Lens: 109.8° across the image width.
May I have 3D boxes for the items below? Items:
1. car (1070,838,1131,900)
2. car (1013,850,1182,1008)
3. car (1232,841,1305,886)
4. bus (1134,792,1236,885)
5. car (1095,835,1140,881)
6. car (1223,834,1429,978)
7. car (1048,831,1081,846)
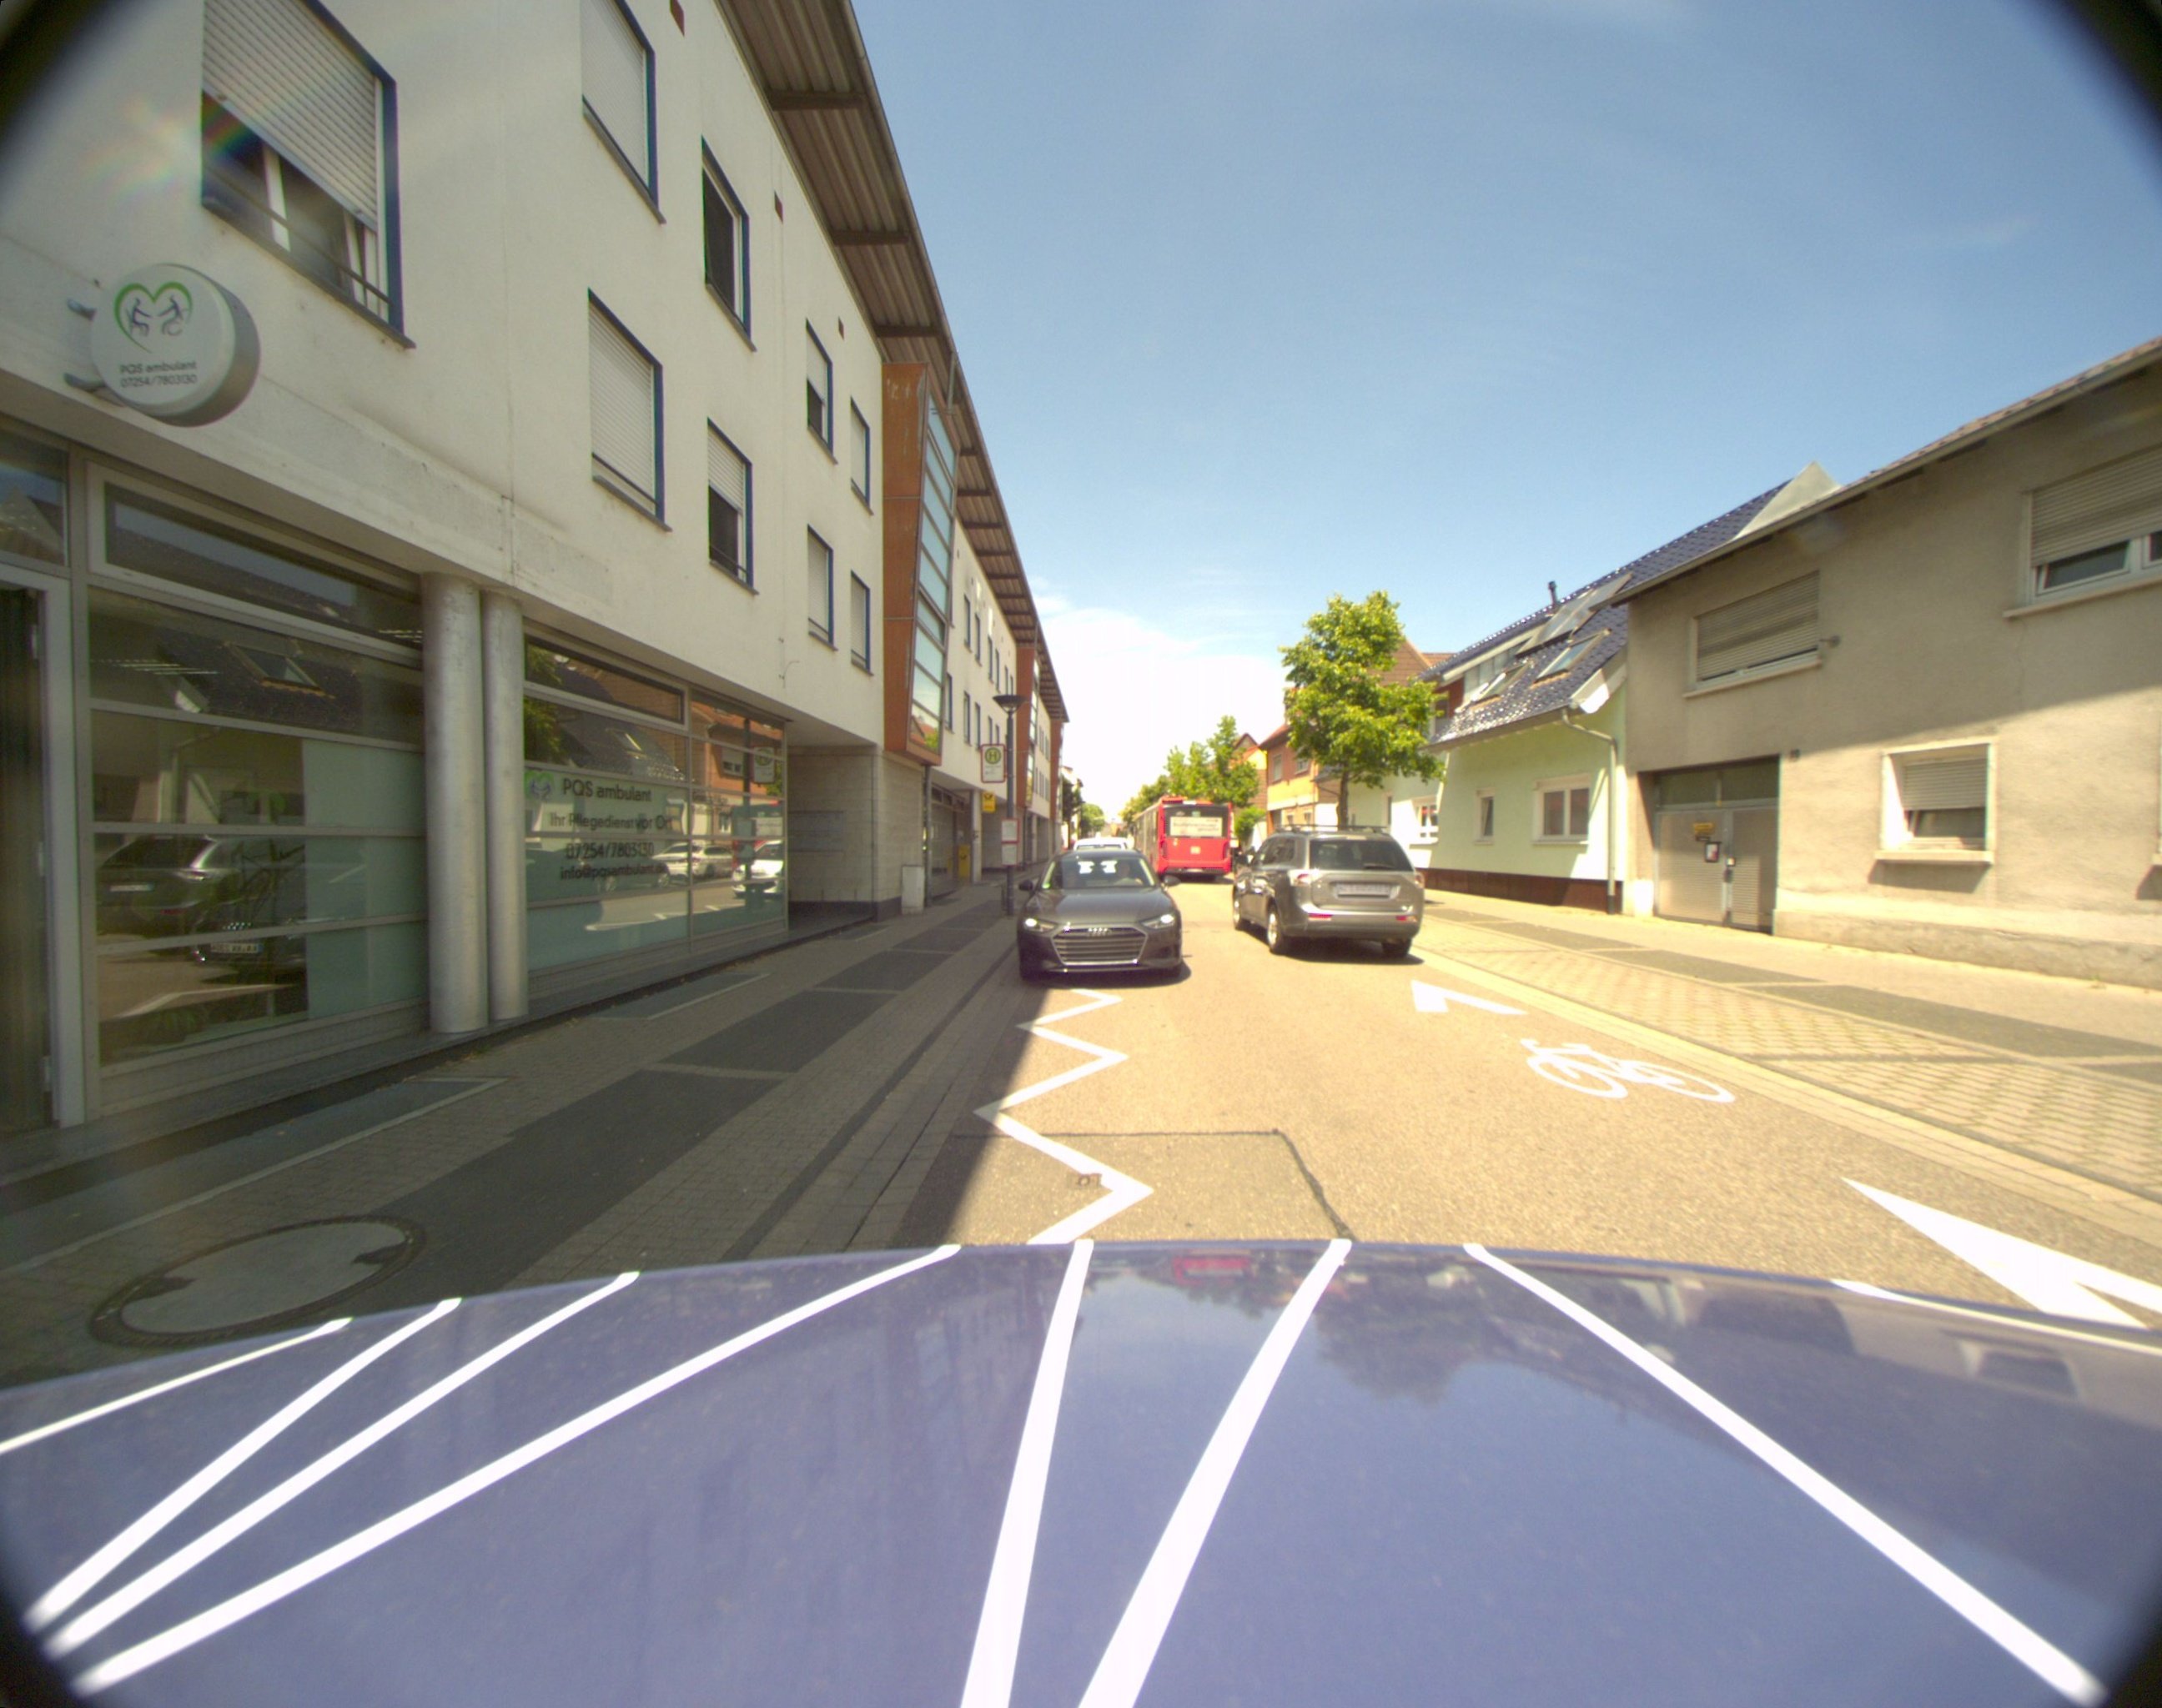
[{"bbox_3d":[0.575,0.344,21.899,1.581,1.620,4.064,0,1,2],"label":"car"},{"bbox_3d":[0.223,0.714,9.362,1.581,1.424,4.064,-2,1,2],"label":"car"},{"bbox_3d":[6.631,0.273,27.372,1.724,1.428,4.459,-1,1,3],"label":"car"},{"bbox_3d":[4.204,-0.731,35.113,2.675,3.106,17.804,2,1,2],"label":"bus"},{"bbox_3d":[1.374,0.103,29.305,1.581,1.620,4.064,0,1,2],"label":"car"},{"bbox_3d":[3.288,0.574,11.098,1.679,1.706,4.231,0,1,1],"label":"car"},{"bbox_3d":[-2.175,-2.027,99.168,4.203,1.849,2.000,1,2,1],"label":"car"}]
